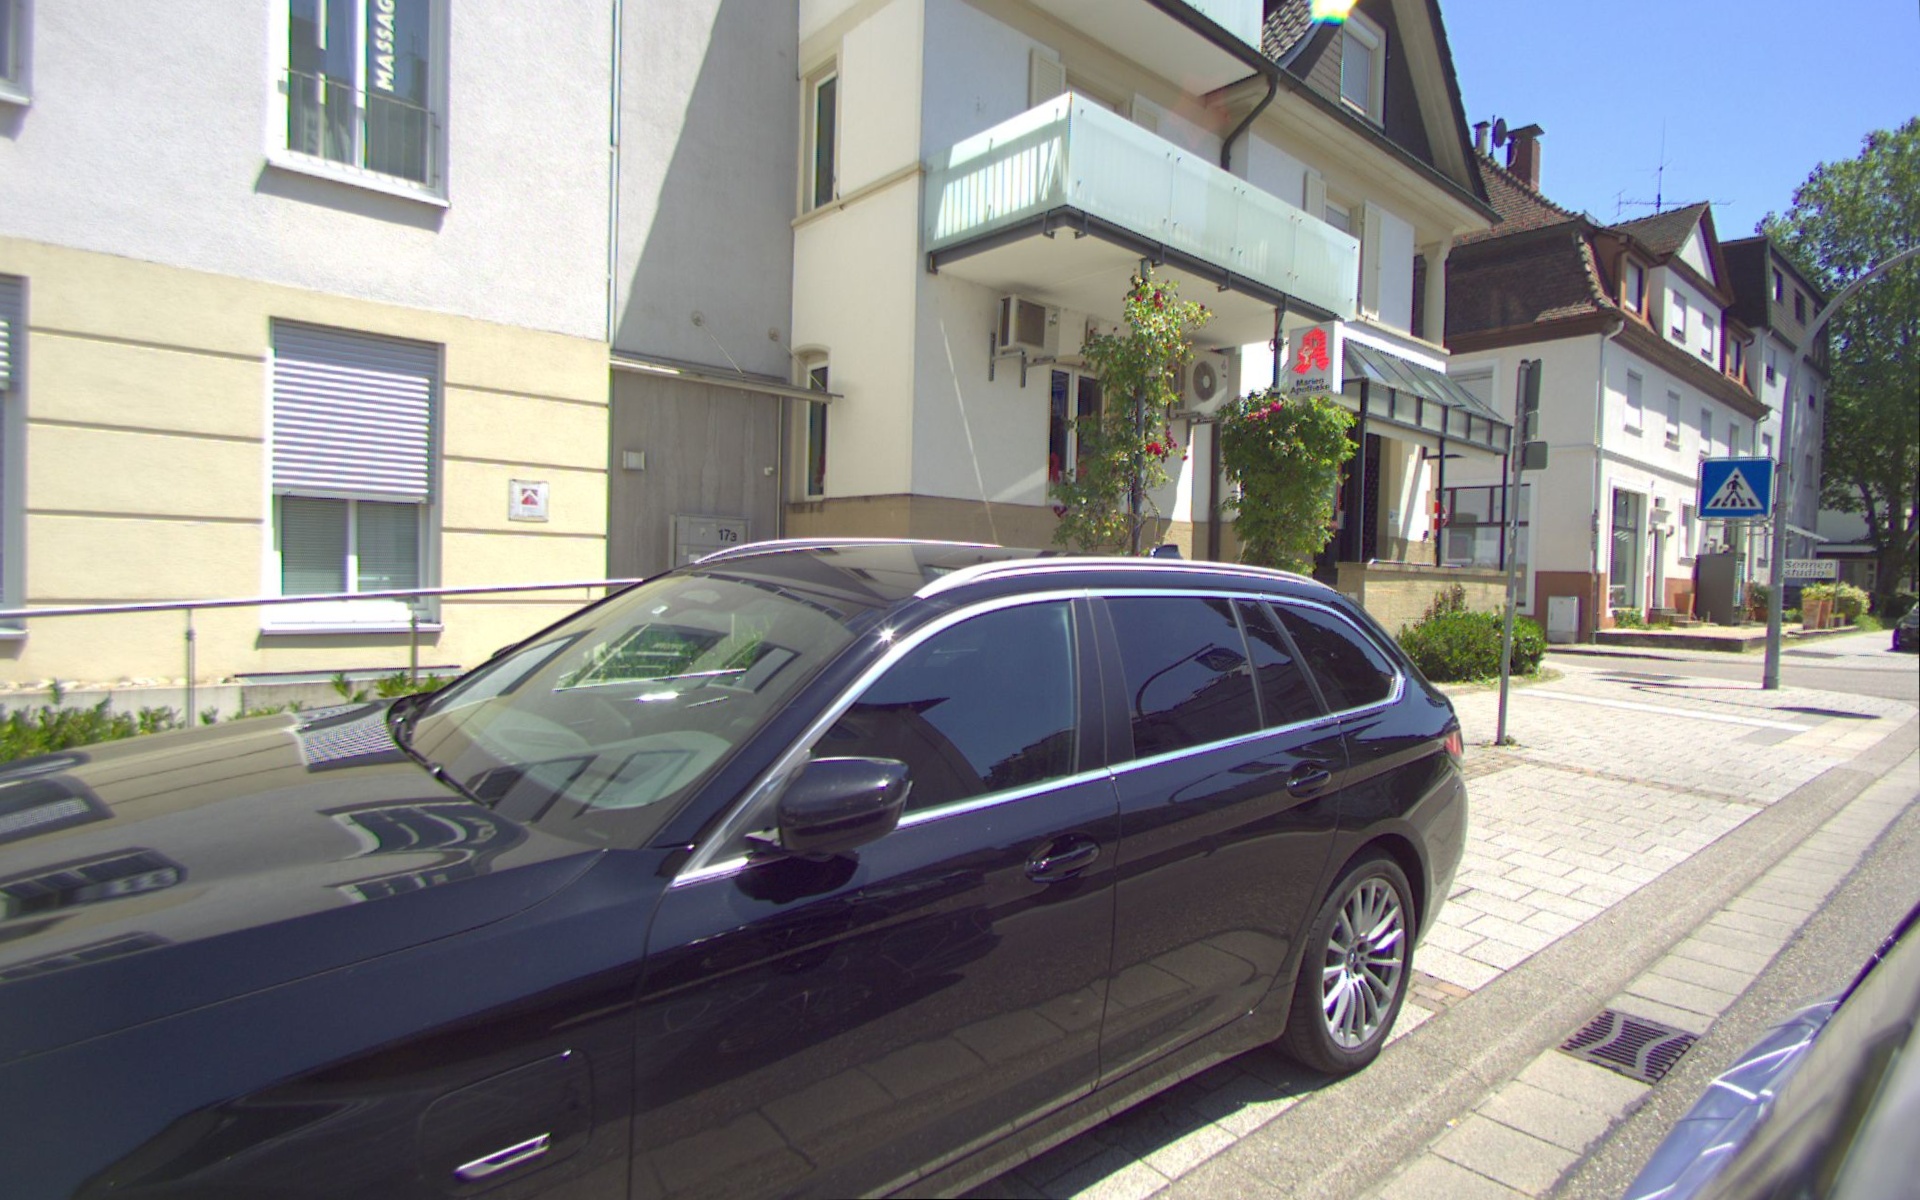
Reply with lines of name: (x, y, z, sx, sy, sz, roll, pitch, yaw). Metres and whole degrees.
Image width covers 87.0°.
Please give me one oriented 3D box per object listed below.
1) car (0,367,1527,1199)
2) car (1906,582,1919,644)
car: (-0.364, 0.499, 2.686, 4.664, 1.575, 1.709, 0, 3, -41)
car: (24.632, 0.330, 24.609, 4.618, 1.444, 1.831, -1, 4, -41)
